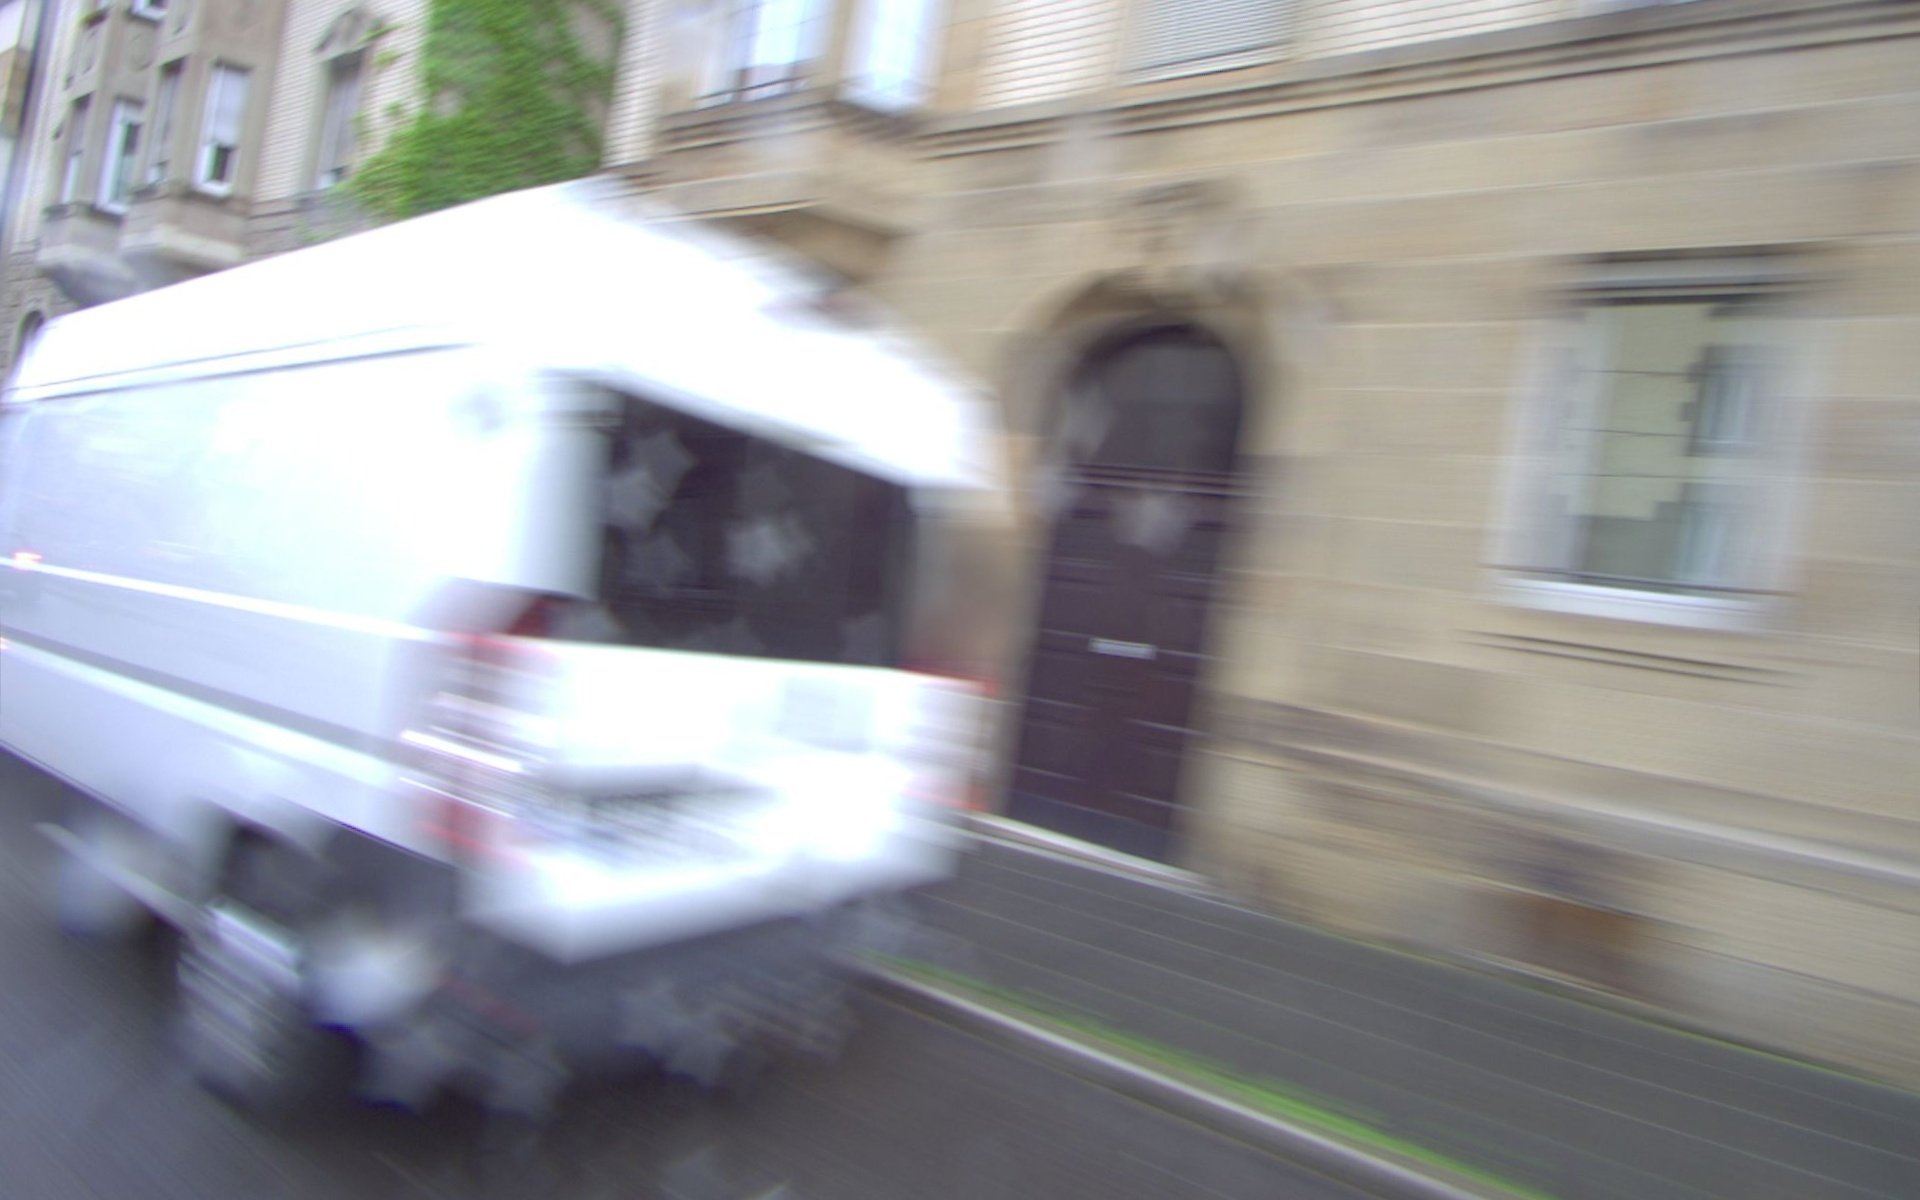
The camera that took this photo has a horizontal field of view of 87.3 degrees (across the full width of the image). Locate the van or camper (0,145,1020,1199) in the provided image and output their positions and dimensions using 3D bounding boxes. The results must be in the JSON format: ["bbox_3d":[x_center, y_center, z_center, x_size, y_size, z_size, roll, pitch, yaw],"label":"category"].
[{"bbox_3d":[-2.983,0.077,4.601,6.019,2.498,2.068,7,-1,33],"label":"van or camper"}]
